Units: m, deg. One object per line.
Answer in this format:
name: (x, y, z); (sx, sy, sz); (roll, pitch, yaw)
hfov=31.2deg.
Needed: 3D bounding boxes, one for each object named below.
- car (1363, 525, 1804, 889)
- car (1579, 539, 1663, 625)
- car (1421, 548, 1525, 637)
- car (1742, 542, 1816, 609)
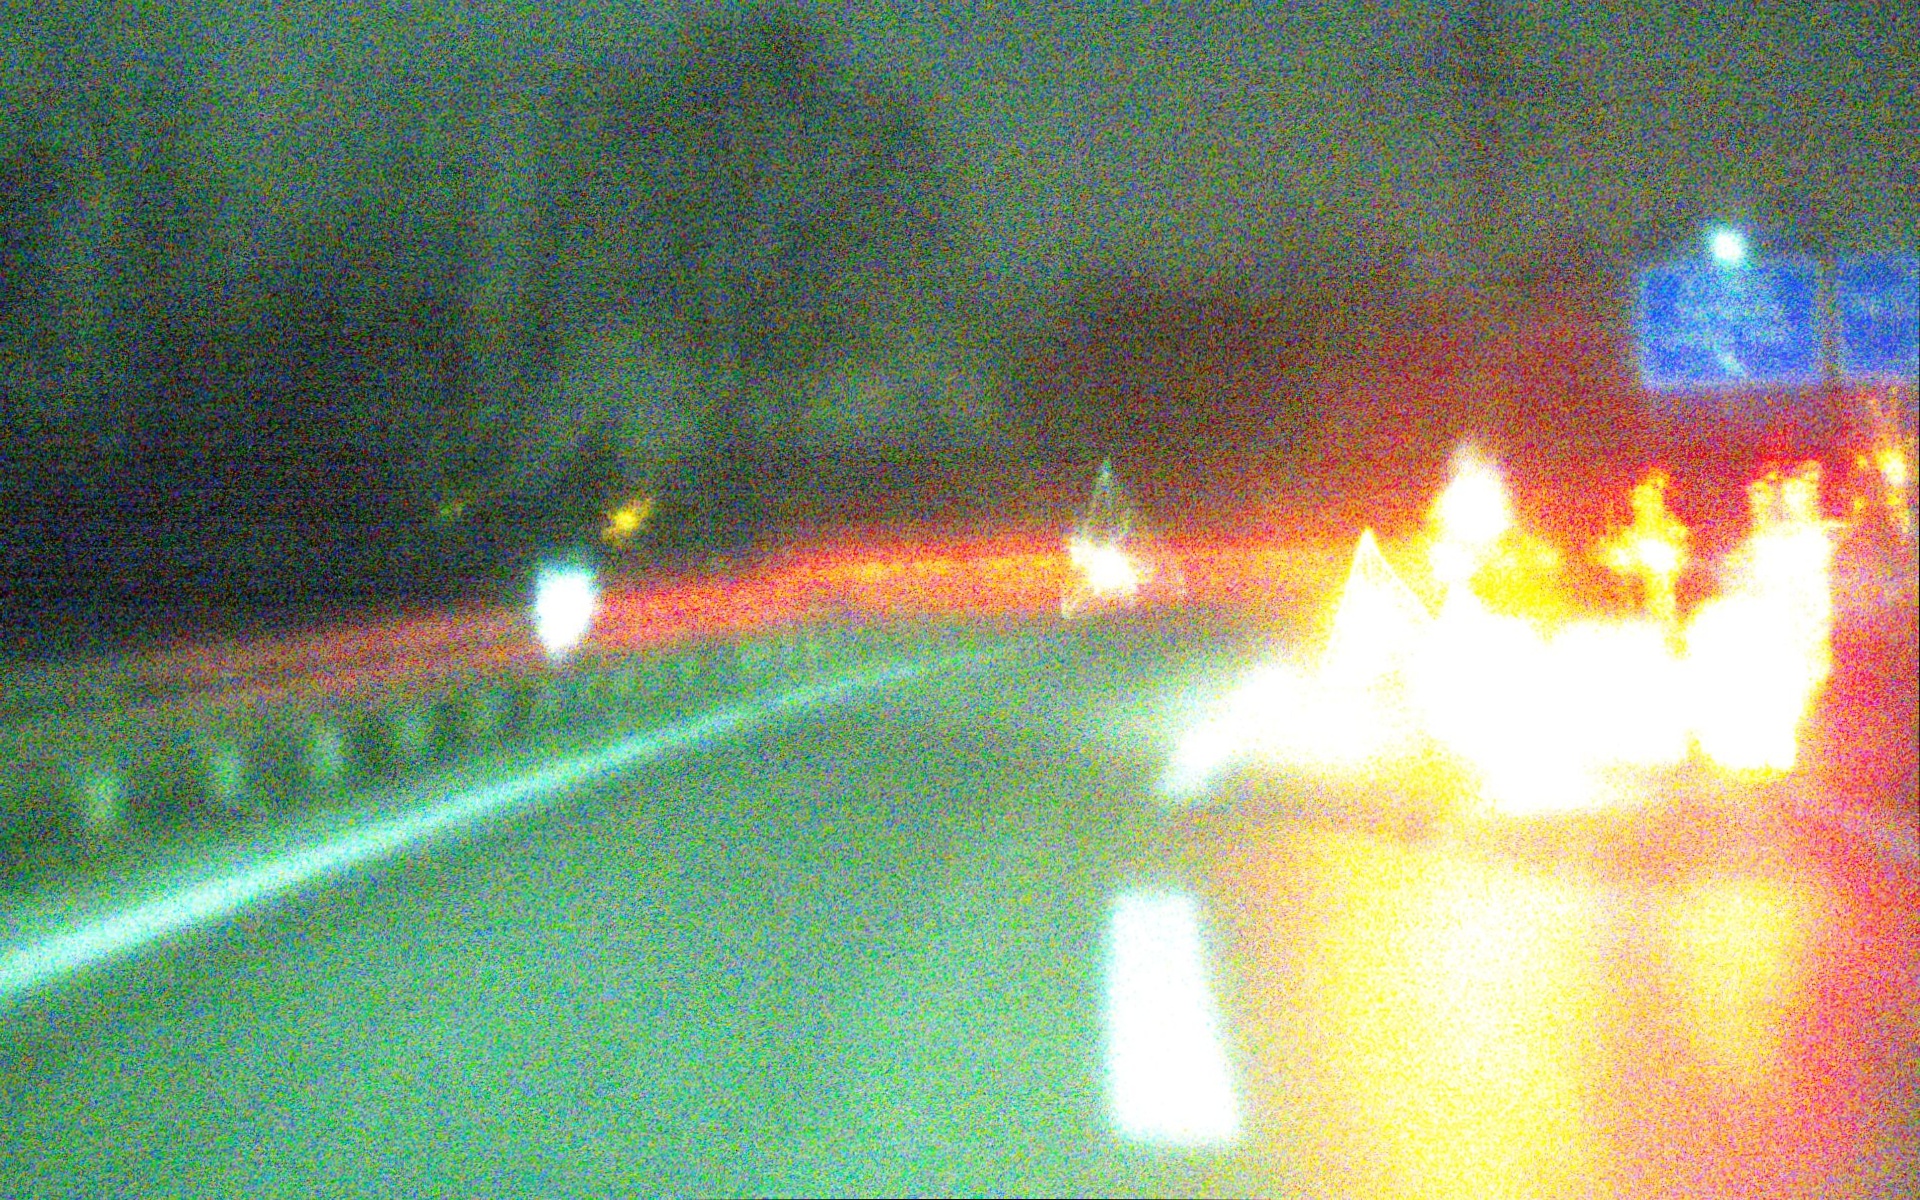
car: (3.176, 0.467, 18.273); (1.861, 1.641, 4.068); (2, 1, 5)
car: (16.142, -0.438, 83.813); (1.896, 2.033, 4.043); (1, 0, 12)
car: (10.348, -0.159, 69.144); (1.896, 1.715, 4.044); (1, 0, 11)
car: (24.589, -0.741, 103.154); (1.897, 1.991, 4.042); (0, 1, 17)
